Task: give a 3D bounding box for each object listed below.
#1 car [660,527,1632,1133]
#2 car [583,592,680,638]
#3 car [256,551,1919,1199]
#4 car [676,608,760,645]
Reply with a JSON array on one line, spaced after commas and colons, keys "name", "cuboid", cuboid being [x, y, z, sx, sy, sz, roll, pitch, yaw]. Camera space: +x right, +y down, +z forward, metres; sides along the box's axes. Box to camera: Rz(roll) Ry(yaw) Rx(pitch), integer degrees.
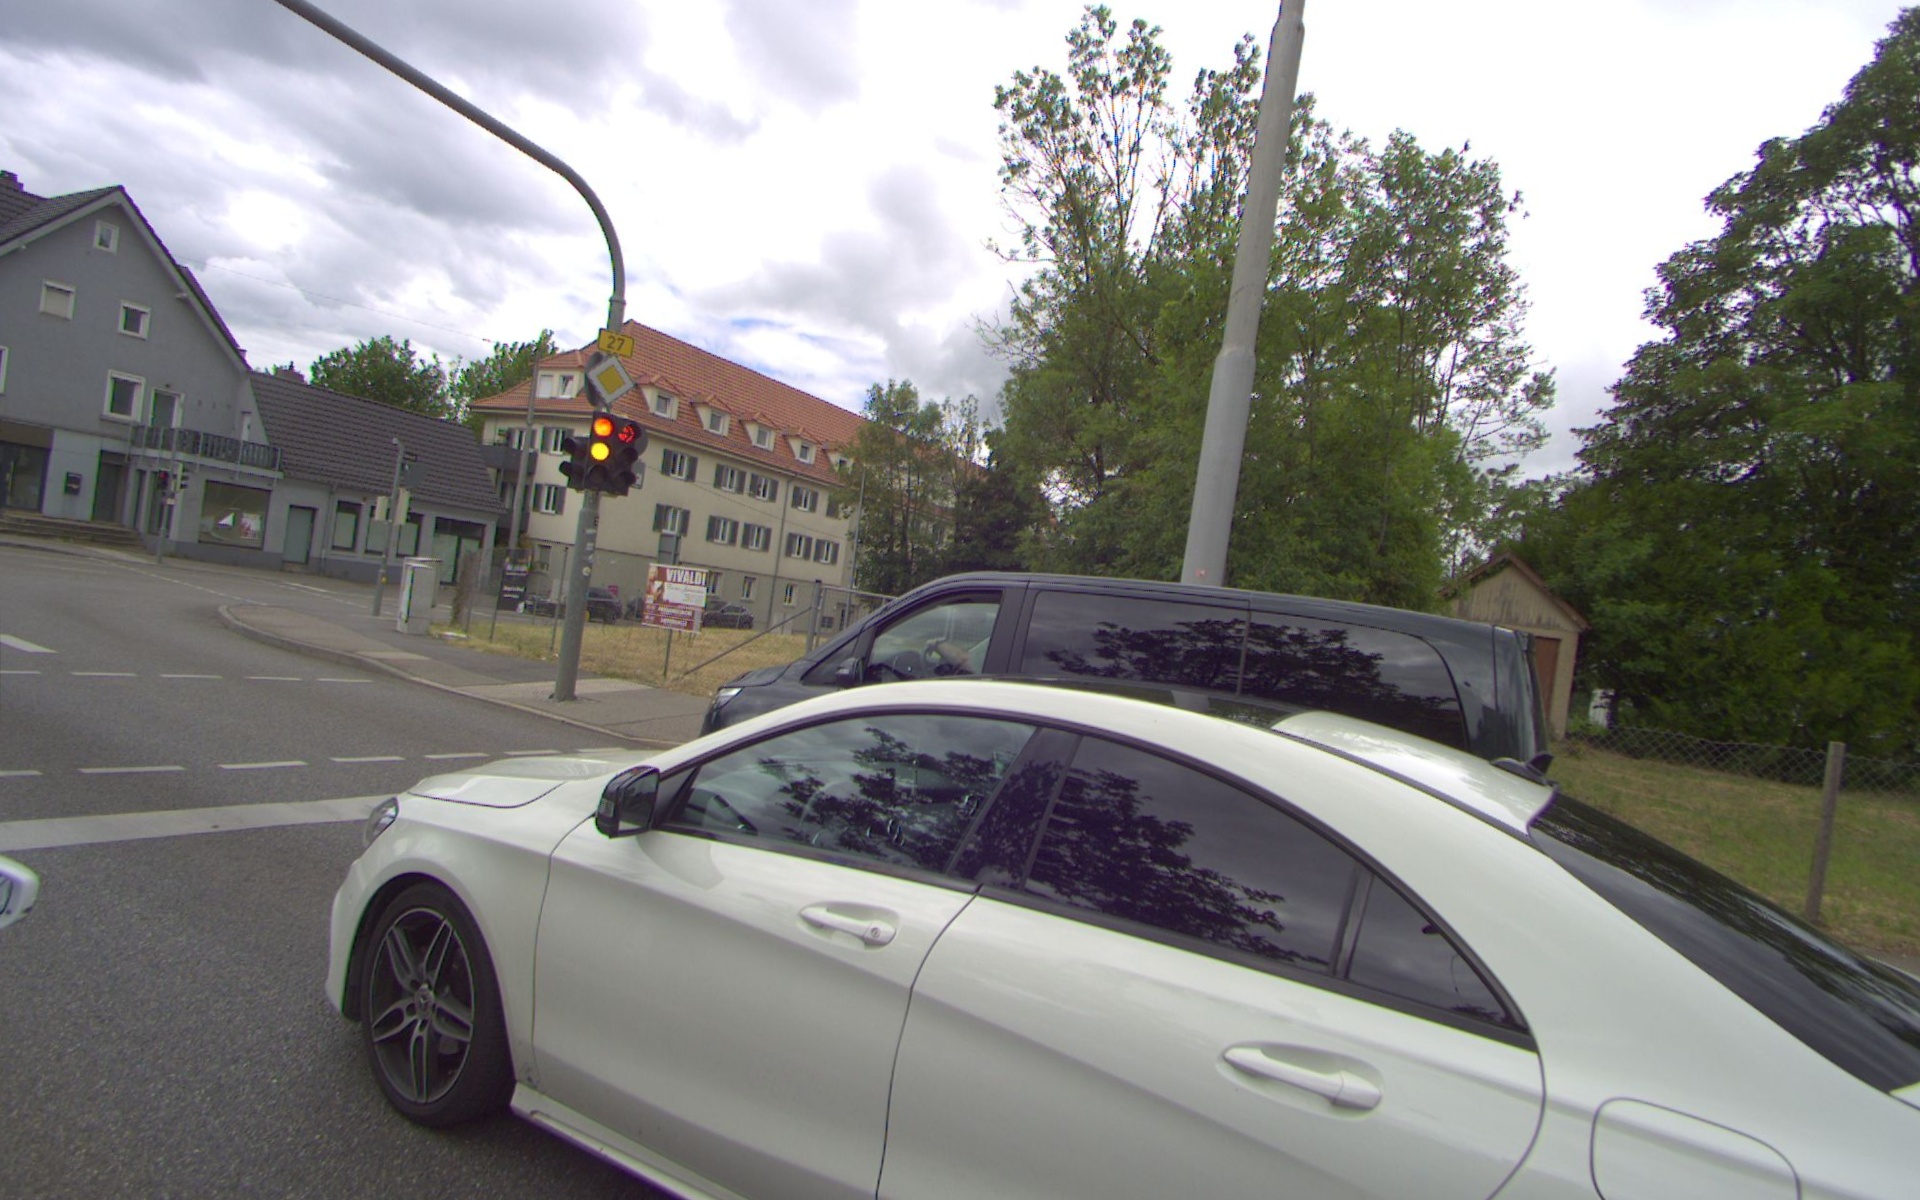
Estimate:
[{"name": "car", "cuboid": [0.791, 0.826, 5.599, 4.631, 1.860, 1.953, 7, -2, 32]}, {"name": "car", "cuboid": [-15.512, 0.735, 47.658, 1.839, 1.554, 3.996, 7, -2, 32]}, {"name": "car", "cuboid": [0.166, 0.849, 2.638, 4.305, 1.451, 1.651, 7, 0, 32]}, {"name": "car", "cuboid": [-12.617, 1.397, 52.646, 1.839, 1.393, 3.996, 7, -2, 32]}]
